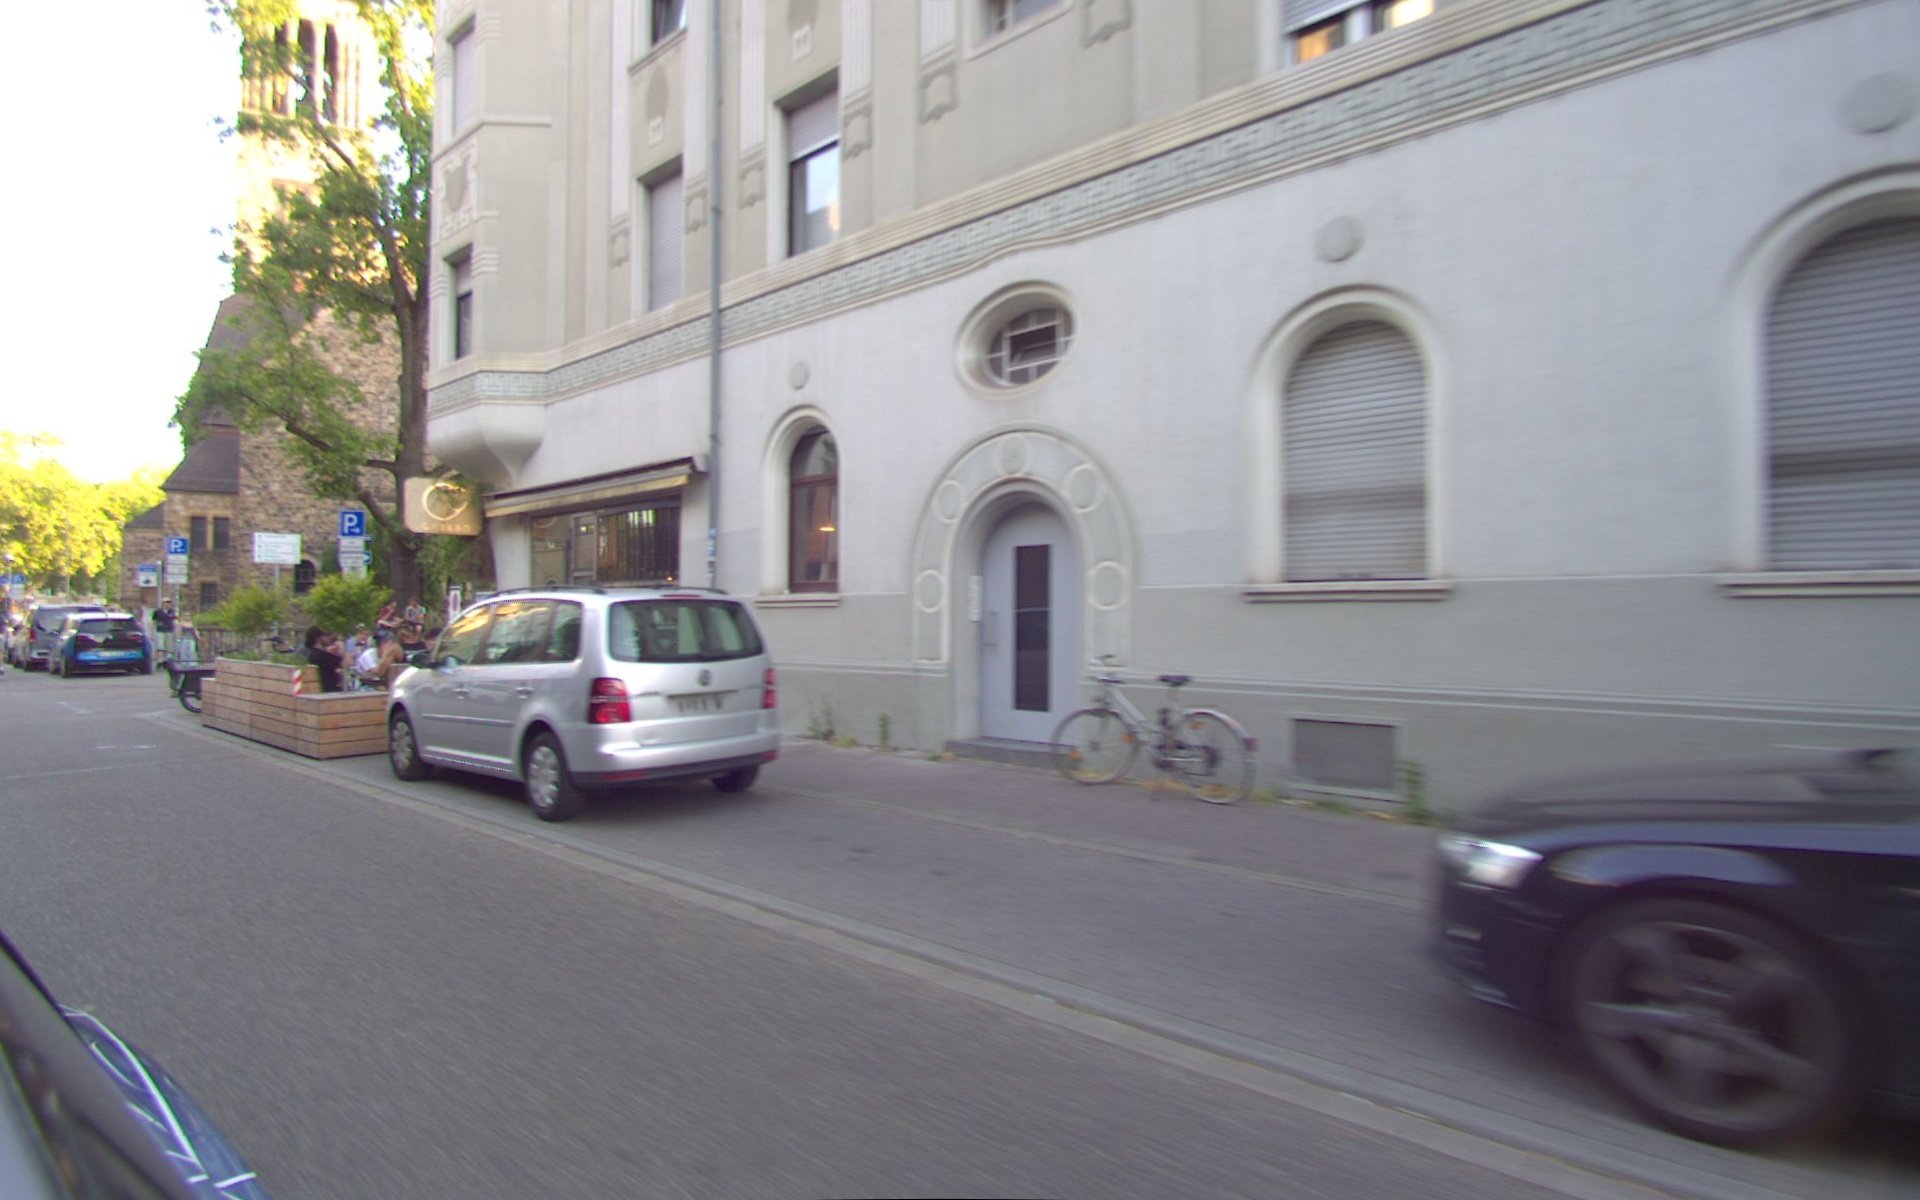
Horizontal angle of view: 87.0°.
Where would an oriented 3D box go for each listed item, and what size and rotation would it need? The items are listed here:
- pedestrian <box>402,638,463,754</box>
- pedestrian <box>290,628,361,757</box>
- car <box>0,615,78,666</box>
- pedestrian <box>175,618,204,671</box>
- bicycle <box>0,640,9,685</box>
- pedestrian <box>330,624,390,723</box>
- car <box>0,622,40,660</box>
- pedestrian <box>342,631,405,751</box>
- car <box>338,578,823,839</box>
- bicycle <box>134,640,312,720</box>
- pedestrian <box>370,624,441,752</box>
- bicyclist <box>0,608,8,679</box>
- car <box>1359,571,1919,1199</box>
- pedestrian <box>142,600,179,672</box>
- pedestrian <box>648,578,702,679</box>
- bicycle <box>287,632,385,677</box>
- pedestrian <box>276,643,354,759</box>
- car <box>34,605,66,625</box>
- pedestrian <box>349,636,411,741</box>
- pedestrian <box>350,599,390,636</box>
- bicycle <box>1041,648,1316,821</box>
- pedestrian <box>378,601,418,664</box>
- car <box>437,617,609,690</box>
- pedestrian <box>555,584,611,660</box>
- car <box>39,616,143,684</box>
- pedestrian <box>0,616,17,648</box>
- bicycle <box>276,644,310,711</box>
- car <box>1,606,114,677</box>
[{"bbox_3d":[-6.440,1.149,12.360,0.610,1.360,0.463,-1,-2,41],"label":"pedestrian"},{"bbox_3d":[-6.992,0.994,11.144,0.668,1.360,0.479,-1,-2,41],"label":"pedestrian"},{"bbox_3d":[-31.405,1.338,34.119,4.465,1.604,1.852,-1,-2,40],"label":"car"},{"bbox_3d":[-21.069,1.215,27.670,0.659,1.416,0.526,-1,-1,42],"label":"pedestrian"},{"bbox_3d":[-23.480,1.491,24.405,1.903,1.048,0.608,-1,-2,42],"label":"bicycle"},{"bbox_3d":[-8.397,1.007,14.166,0.705,1.335,0.531,-1,-2,42],"label":"pedestrian"},{"bbox_3d":[-37.297,1.575,39.442,4.316,1.446,1.763,-1,-2,43],"label":"car"},{"bbox_3d":[-6.932,1.047,11.953,0.610,1.360,0.463,-1,-2,41],"label":"pedestrian"},{"bbox_3d":[-3.311,0.725,8.414,4.312,1.603,1.972,-1,-2,41],"label":"car"},{"bbox_3d":[-10.959,1.177,15.129,2.080,1.103,0.502,0,-2,-24],"label":"bicycle"},{"bbox_3d":[-6.110,0.942,11.150,0.539,1.360,0.511,-1,-2,39],"label":"pedestrian"},{"bbox_3d":[-23.431,1.034,24.374,1.142,1.697,0.596,-1,-2,42],"label":"bicyclist"},{"bbox_3d":[3.596,0.662,2.441,4.532,1.483,1.891,-1,-1,42],"label":"car"},{"bbox_3d":[-21.446,0.961,27.157,0.802,1.920,0.576,-1,-2,39],"label":"pedestrian"},{"bbox_3d":[-3.947,0.396,14.005,0.518,1.360,0.532,-1,-2,42],"label":"pedestrian"},{"bbox_3d":[-16.398,1.421,26.660,0.555,1.142,2.116,-1,-2,42],"label":"bicycle"},{"bbox_3d":[-7.845,1.203,12.314,0.770,1.335,0.602,-1,-2,41],"label":"pedestrian"},{"bbox_3d":[-92.177,1.529,102.557,1.837,2.029,3.821,1,-2,-33],"label":"car"},{"bbox_3d":[-7.741,1.159,13.505,0.705,1.335,0.531,-1,-2,42],"label":"pedestrian"},{"bbox_3d":[-16.099,0.494,27.623,0.836,0.988,0.699,-1,-2,40],"label":"pedestrian"},{"bbox_3d":[1.590,0.943,7.668,2.029,1.104,0.554,-1,-1,43],"label":"bicycle"},{"bbox_3d":[-15.660,0.904,28.211,0.836,1.734,0.699,-1,-3,40],"label":"pedestrian"},{"bbox_3d":[-12.024,1.440,27.974,1.892,1.858,3.941,-2,-3,45],"label":"car"},{"bbox_3d":[-5.960,0.347,15.997,0.747,1.162,0.551,-1,-2,41],"label":"pedestrian"},{"bbox_3d":[-22.148,1.221,25.748,4.005,1.567,1.622,-2,0,44],"label":"car"},{"bbox_3d":[-52.822,1.755,56.028,0.689,1.738,0.708,-1,-2,32],"label":"pedestrian"},{"bbox_3d":[-10.913,1.244,16.545,0.417,1.020,1.723,0,-3,-34],"label":"bicycle"},{"bbox_3d":[-26.225,1.154,29.340,5.290,1.881,1.971,-2,-2,43],"label":"car"}]
